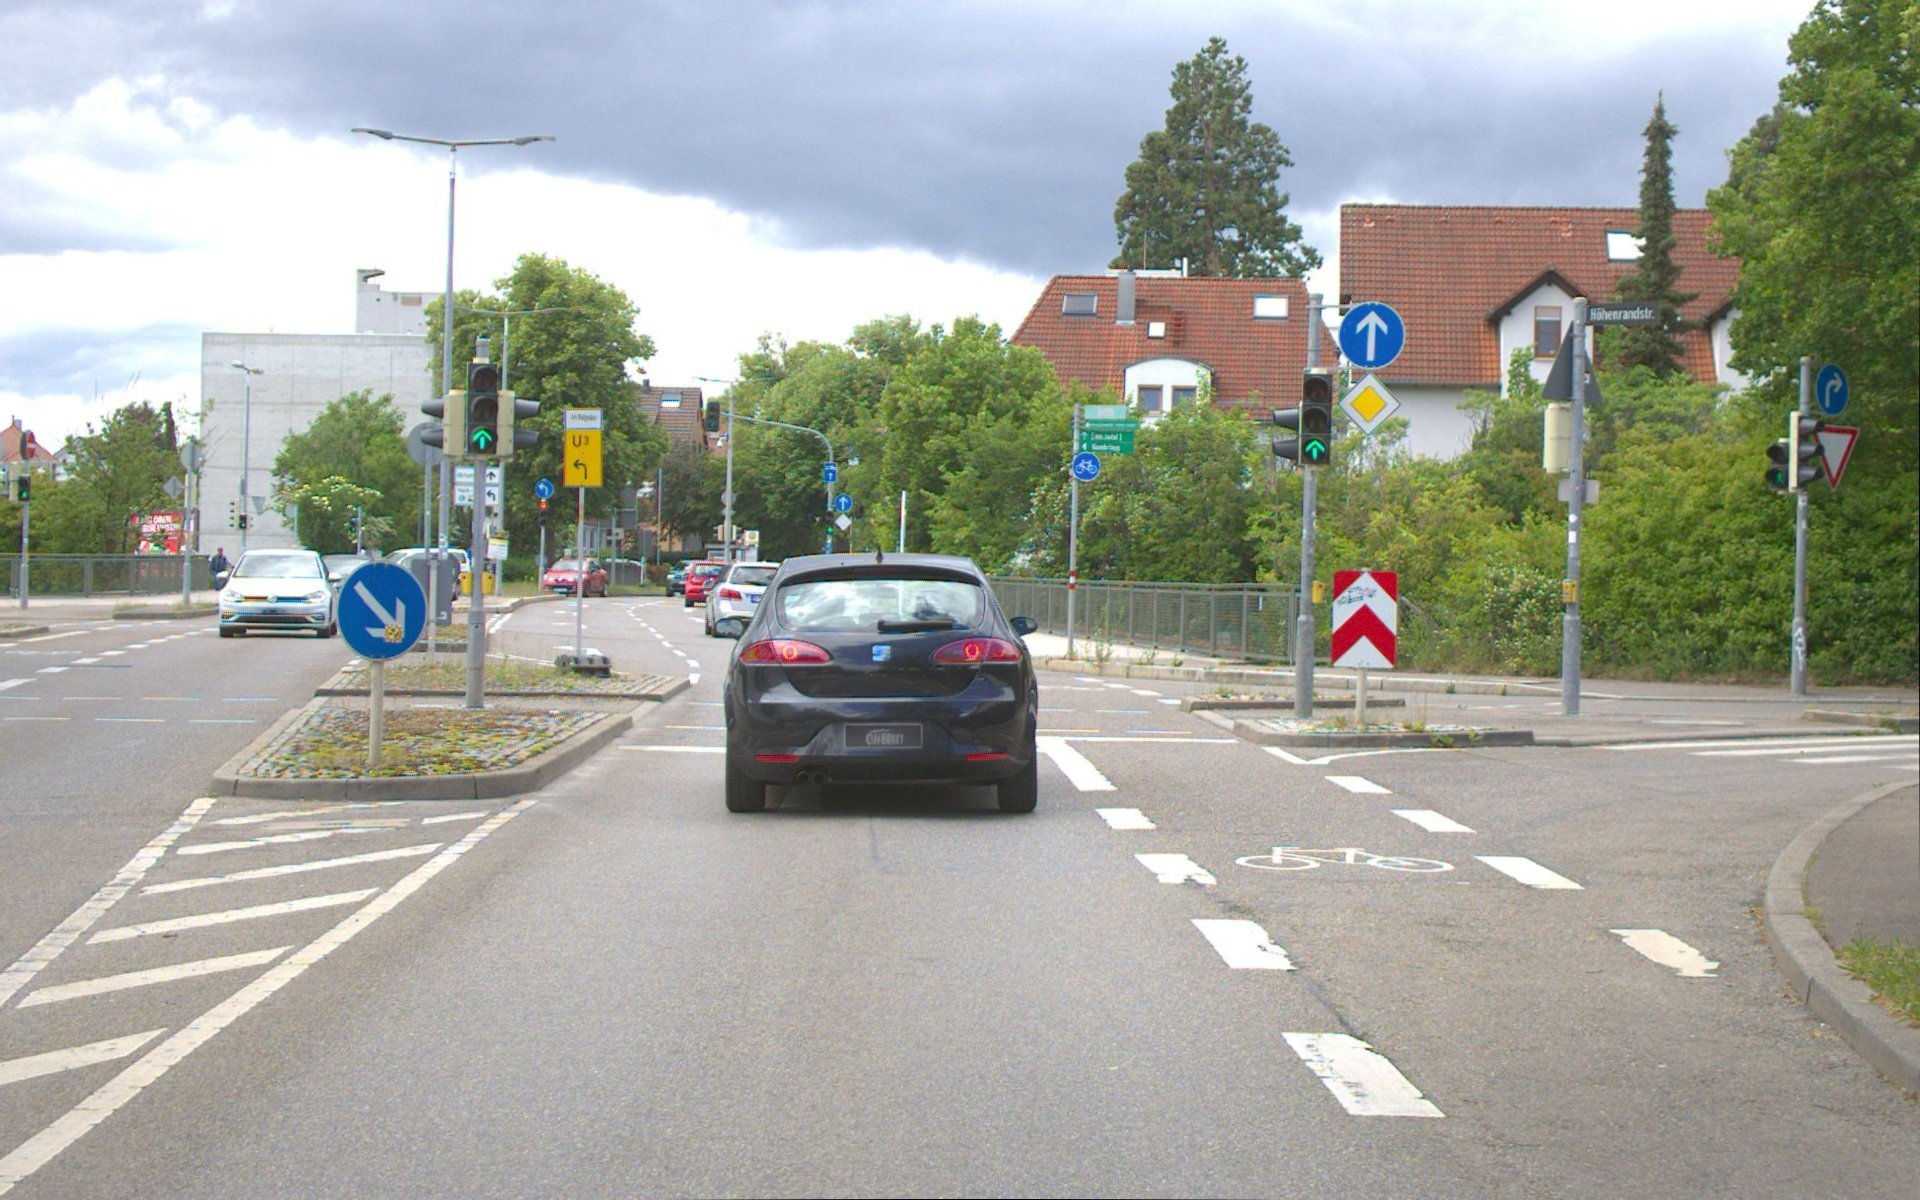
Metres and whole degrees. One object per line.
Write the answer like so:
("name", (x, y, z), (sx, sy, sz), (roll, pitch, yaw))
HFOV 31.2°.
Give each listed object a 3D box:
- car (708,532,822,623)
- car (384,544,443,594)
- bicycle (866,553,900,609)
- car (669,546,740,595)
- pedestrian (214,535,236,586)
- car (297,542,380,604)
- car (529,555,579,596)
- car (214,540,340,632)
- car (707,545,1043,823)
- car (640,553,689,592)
("car", (-3.788, -0.457, 66.295), (1.818, 1.693, 4.254), (1, 1, -8))
("car", (-16.384, -0.930, 103.187), (1.642, 1.404, 3.820), (2, 0, -8))
("bicycle", (-2.147, -0.546, 96.140), (0.891, 1.505, 2.783), (1, 1, -1))
("car", (-8.056, -0.939, 108.093), (1.941, 1.476, 4.254), (1, 1, -8))
("pedestrian", (-24.284, -1.312, 113.606), (0.656, 1.628, 1.071), (3, 0, -12))
("car", (-14.370, -0.631, 79.684), (1.720, 1.386, 3.919), (1, 1, -8))
("car", (-15.120, -0.923, 127.955), (1.720, 1.443, 4.068), (2, 0, -8))
("car", (-11.219, -0.246, 56.653), (1.798, 1.439, 3.949), (1, 1, -8))
("car", (-0.531, 0.417, 20.033), (1.759, 1.444, 3.715), (1, 1, -3))
("car", (-12.813, -1.200, 148.842), (1.822, 1.621, 4.280), (1, 0, -8))
